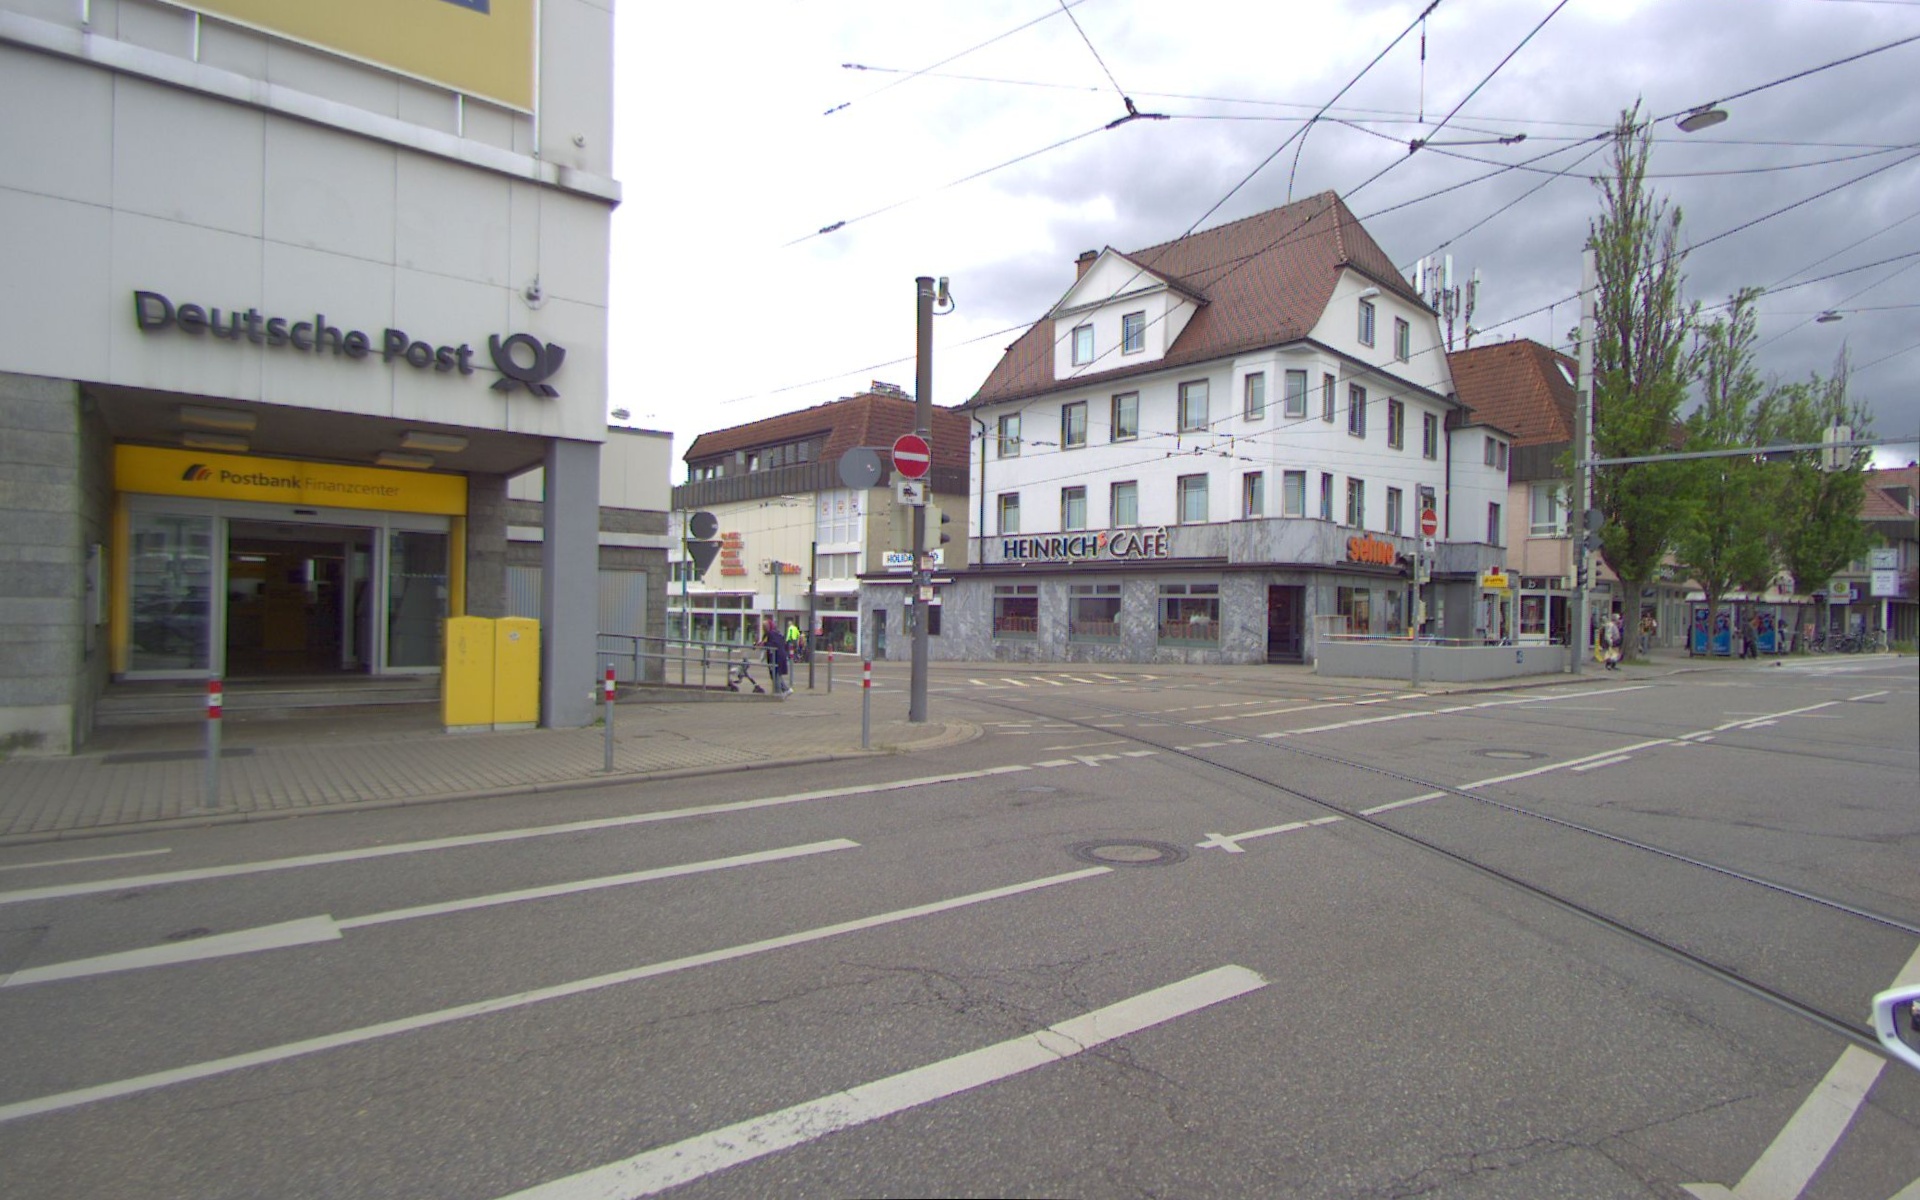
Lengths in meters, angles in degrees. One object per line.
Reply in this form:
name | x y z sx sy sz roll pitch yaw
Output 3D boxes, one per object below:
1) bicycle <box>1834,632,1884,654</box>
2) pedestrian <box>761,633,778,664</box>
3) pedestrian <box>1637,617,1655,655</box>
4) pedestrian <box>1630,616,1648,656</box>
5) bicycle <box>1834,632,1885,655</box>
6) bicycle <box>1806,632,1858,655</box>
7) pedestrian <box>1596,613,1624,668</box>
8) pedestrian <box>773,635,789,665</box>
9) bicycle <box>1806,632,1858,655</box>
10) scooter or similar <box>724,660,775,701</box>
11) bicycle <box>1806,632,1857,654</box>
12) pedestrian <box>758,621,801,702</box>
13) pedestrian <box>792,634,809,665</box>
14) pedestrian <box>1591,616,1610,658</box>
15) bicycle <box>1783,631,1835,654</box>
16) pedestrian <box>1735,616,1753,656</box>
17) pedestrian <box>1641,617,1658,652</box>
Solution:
bicycle | 46.540 2.232 52.009 1.917 1.043 0.527 2 1 44
pedestrian | -9.082 2.299 47.809 0.645 1.433 0.500 0 0 45
pedestrian | 29.841 1.539 43.671 0.571 1.627 0.641 0 0 40
pedestrian | 28.259 1.505 41.795 0.571 1.627 0.641 0 0 40
bicycle | 45.897 2.218 51.255 1.917 1.043 0.527 2 1 44
bicycle | 43.678 2.161 50.344 1.917 1.043 0.527 2 1 44
pedestrian | 19.720 1.224 30.466 0.626 1.627 0.701 0 0 40
pedestrian | -8.688 2.440 48.785 0.645 1.433 0.500 0 0 45
bicycle | 43.242 2.152 49.833 1.917 1.043 0.527 2 1 44
scooter or similar | -3.759 1.437 17.929 0.876 0.701 0.345 1 0 -11
bicycle | 44.067 2.170 50.808 1.917 1.043 0.527 2 1 44
pedestrian | -3.242 1.094 18.028 0.739 1.433 0.502 1 0 -12
pedestrian | -7.731 2.395 48.657 0.645 1.433 0.500 0 0 45
pedestrian | 28.182 1.621 44.186 0.634 1.860 0.577 0 0 39
bicycle | 42.236 2.123 49.973 1.917 1.043 0.527 2 1 44
pedestrian | 31.042 1.417 39.764 0.526 1.567 0.577 0 0 37
pedestrian | 31.920 1.583 46.490 0.571 1.627 0.641 0 0 40
